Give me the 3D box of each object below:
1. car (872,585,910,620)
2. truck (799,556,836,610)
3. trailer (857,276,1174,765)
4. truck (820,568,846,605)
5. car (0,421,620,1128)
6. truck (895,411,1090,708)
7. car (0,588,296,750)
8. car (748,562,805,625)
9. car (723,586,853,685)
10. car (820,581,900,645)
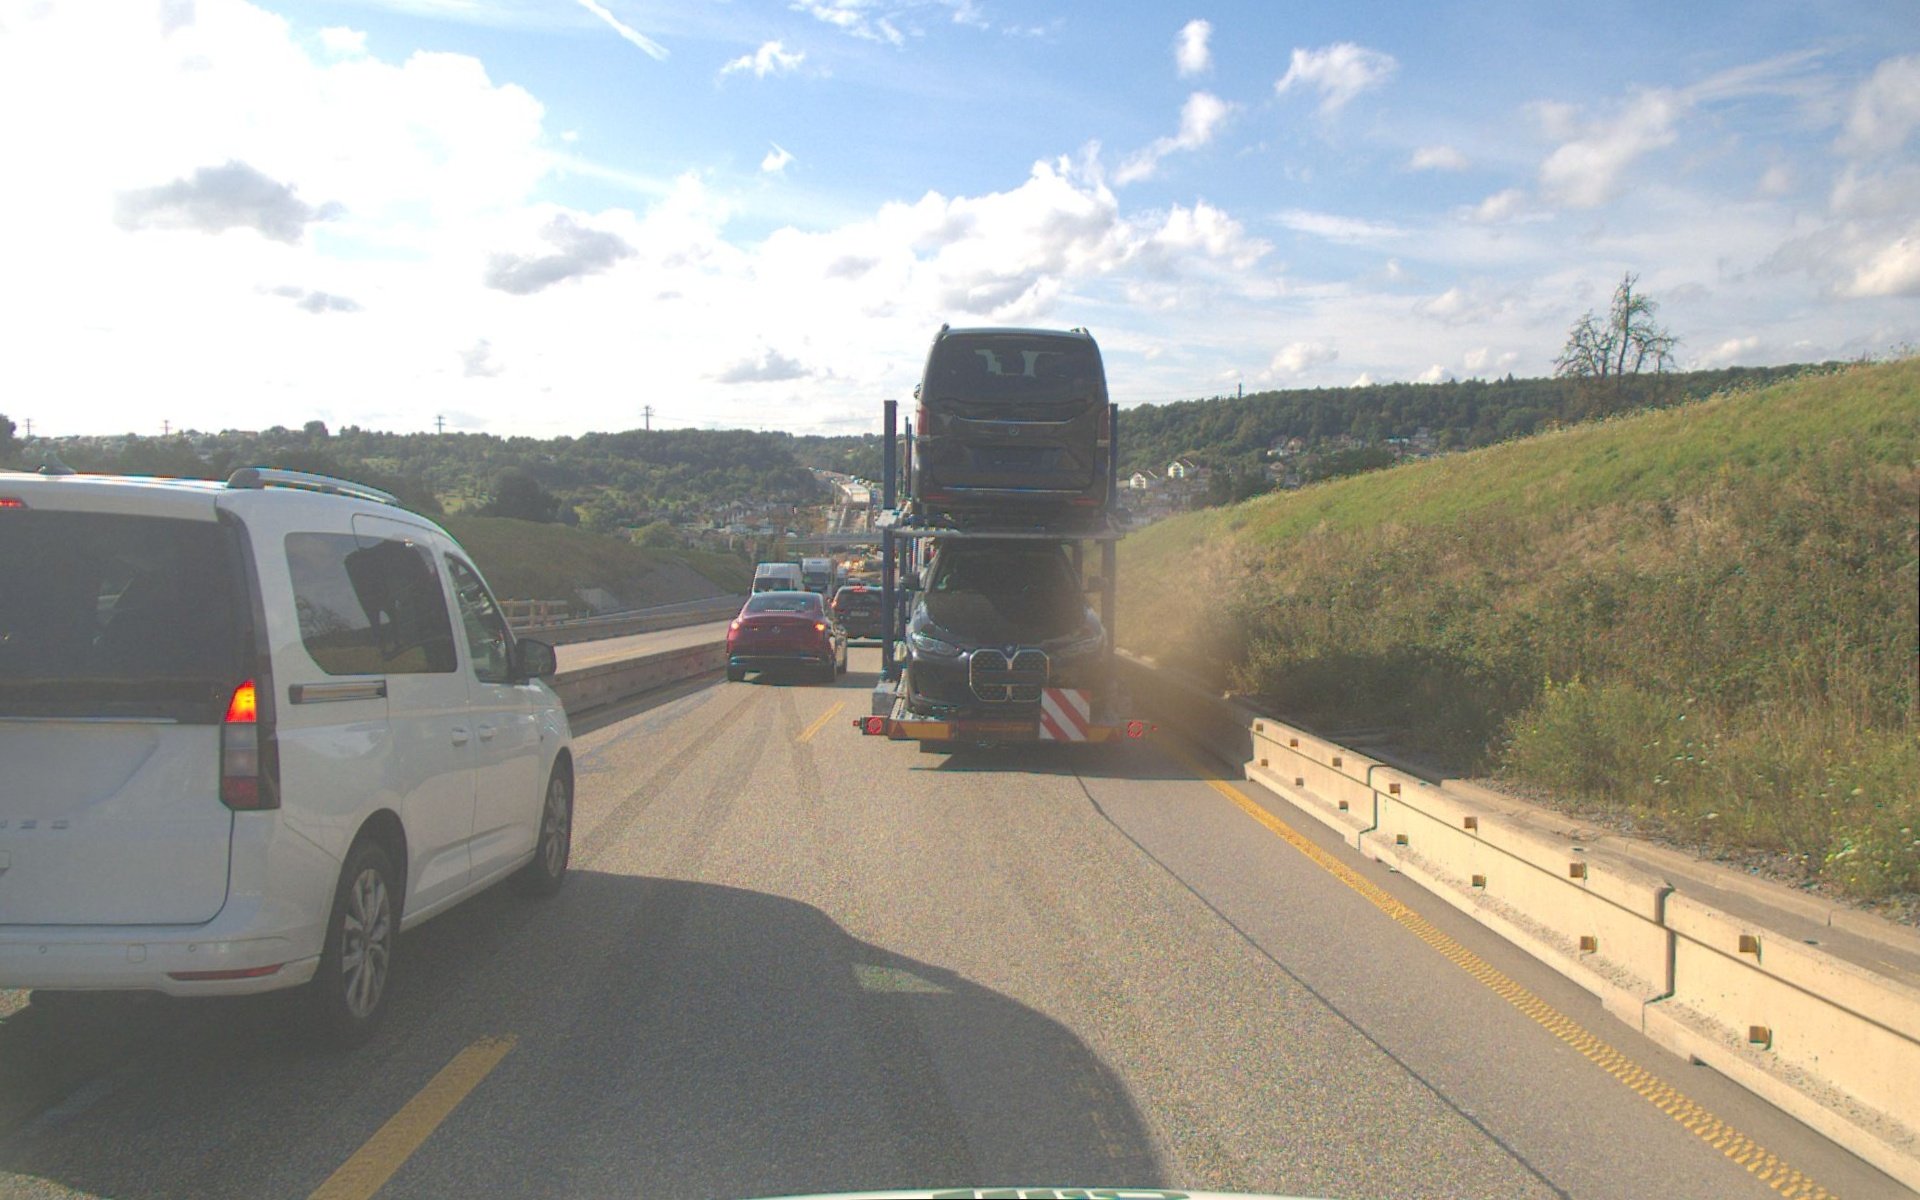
[{"bbox_3d":[-3.280,0.083,79.015,1.760,1.624,4.741,0,0,-2],"label":"car"},{"bbox_3d":[-11.510,-1.358,134.097,2.561,4.226,5.781,0,0,0],"label":"truck"},{"bbox_3d":[0.446,-0.701,19.593,2.653,4.099,11.418,0,0,0],"label":"trailer"},{"bbox_3d":[-14.817,-1.552,193.486,2.585,4.171,10.814,0,0,-2],"label":"truck"},{"bbox_3d":[-2.722,0.421,6.597,1.786,1.855,4.456,1,1,0],"label":"car"},{"bbox_3d":[0.398,-0.565,25.279,2.623,3.990,6.026,0,0,-1],"label":"truck"},{"bbox_3d":[-8.799,0.653,17.583,1.699,1.450,4.626,-3,0,-2],"label":"car"},{"bbox_3d":[-8.973,-0.332,81.269,2.067,2.885,6.138,-2,0,0],"label":"car"},{"bbox_3d":[-2.884,0.543,28.614,1.786,1.518,4.684,1,1,-1],"label":"car"},{"bbox_3d":[-2.756,0.322,46.515,1.953,1.653,4.749,2,0,-1],"label":"car"}]
